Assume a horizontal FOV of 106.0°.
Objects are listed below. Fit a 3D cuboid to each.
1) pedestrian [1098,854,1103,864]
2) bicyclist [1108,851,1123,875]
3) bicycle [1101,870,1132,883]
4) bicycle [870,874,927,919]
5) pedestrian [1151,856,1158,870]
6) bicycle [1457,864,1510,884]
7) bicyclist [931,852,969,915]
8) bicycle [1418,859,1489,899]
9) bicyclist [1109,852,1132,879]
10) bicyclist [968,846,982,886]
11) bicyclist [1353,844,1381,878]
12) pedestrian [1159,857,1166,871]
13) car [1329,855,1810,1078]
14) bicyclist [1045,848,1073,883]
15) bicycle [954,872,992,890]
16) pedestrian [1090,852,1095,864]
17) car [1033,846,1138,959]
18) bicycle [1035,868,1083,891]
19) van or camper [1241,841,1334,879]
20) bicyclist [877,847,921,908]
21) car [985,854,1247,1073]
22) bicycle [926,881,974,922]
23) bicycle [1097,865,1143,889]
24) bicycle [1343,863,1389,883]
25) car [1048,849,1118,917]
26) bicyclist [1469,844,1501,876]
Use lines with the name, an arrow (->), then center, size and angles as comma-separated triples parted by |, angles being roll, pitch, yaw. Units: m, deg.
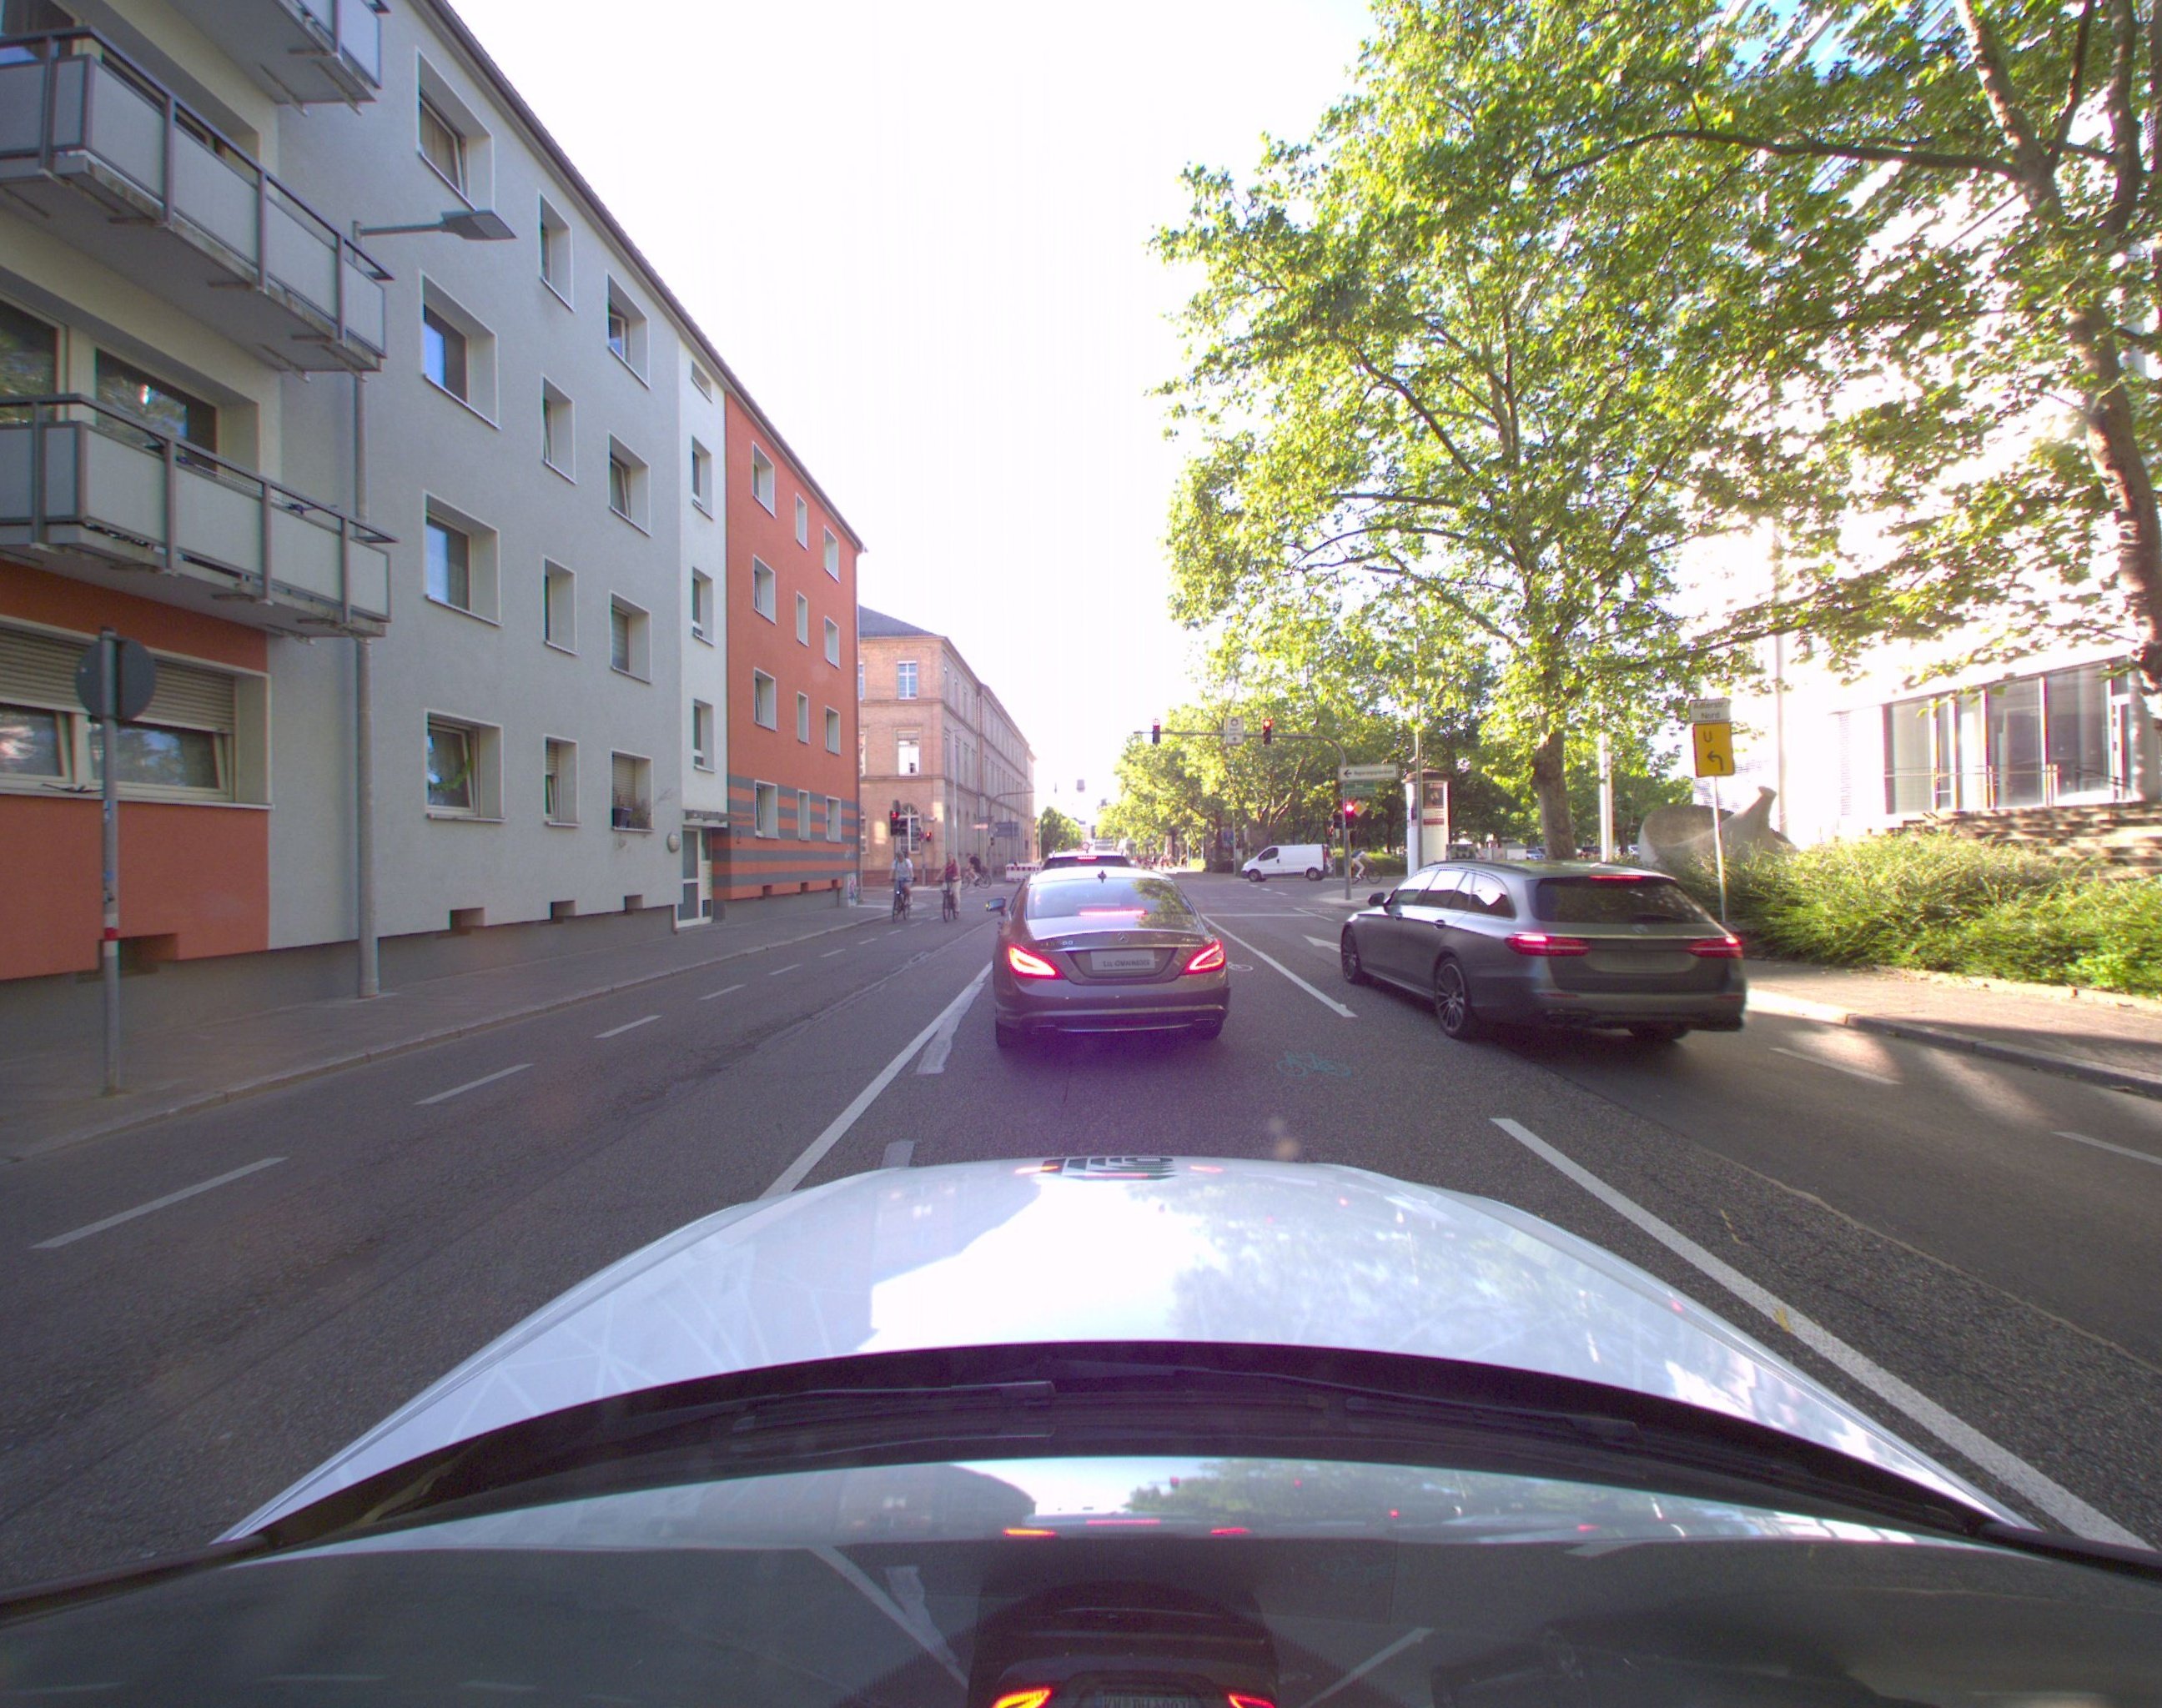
pedestrian -> 3.024, 0.772, 125.861 | 0.799, 1.576, 0.845 | -1, 0, 1
bicyclist -> 1.808, 0.482, 42.637 | 0.700, 1.260, 0.458 | -1, 0, 6
bicycle -> 1.846, 1.171, 42.639 | 1.579, 0.635, 0.496 | -1, 0, 5
bicycle -> -4.748, 1.086, 21.348 | 0.858, 1.079, 1.840 | -1, 0, 7
pedestrian -> 7.638, 0.927, 84.405 | 0.646, 1.503, 0.637 | -1, 0, 1
bicycle -> 17.830, 0.882, 36.090 | 1.965, 0.836, 0.678 | -1, 0, 5
bicyclist -> -3.362, 0.734, 20.904 | 0.681, 1.578, 0.984 | -1, 0, 8
bicycle -> 10.688, 0.705, 23.392 | 1.796, 1.097, 0.510 | -1, 0, 4
bicyclist -> 1.755, 0.508, 35.963 | 0.987, 1.154, 0.621 | -1, 0, 4
bicyclist -> -5.398, 0.630, 41.428 | 0.651, 2.013, 0.439 | -1, 0, -6
bicyclist -> 13.192, 0.312, 37.564 | 1.069, 1.519, 0.718 | -1, 0, 6
pedestrian -> 8.381, 1.073, 84.051 | 0.646, 1.433, 0.659 | -1, 0, 1
car -> 3.959, 0.748, 7.751 | 1.906, 1.464, 4.671 | 0, 0, 2
bicyclist -> -0.945, 0.487, 34.843 | 1.113, 1.490, 0.712 | -1, 0, 1
bicycle -> -5.476, 1.369, 41.405 | 1.889, 0.837, 0.457 | -1, 0, -6
pedestrian -> 1.854, 0.626, 132.134 | 0.718, 1.902, 0.704 | -1, 0, 1
car -> 0.058, 0.709, 13.832 | 1.513, 1.647, 3.879 | -1, 0, 0
bicycle -> -0.930, 1.095, 34.825 | 1.979, 0.903, 0.734 | -1, 0, 1
van or camper -> 11.065, 0.345, 43.704 | 4.538, 1.941, 2.011 | -1, 0, 23
bicyclist -> -4.759, 0.608, 21.358 | 0.837, 1.555, 0.841 | -1, 0, 8
car -> 0.063, 0.773, 7.792 | 1.801, 1.456, 4.342 | -1, -1, -5
bicycle -> -3.349, 1.194, 20.926 | 0.689, 0.929, 1.867 | -1, 0, 7
bicycle -> 1.740, 1.025, 35.965 | 1.971, 1.027, 0.652 | -1, 0, 3
bicycle -> 13.145, 0.891, 37.574 | 1.884, 0.882, 0.726 | -1, 0, 5
car -> 0.124, 0.766, 23.377 | 1.813, 1.762, 4.002 | -1, 0, 2
bicyclist -> 17.915, 0.253, 36.098 | 1.097, 1.403, 0.658 | -1, 0, 5
